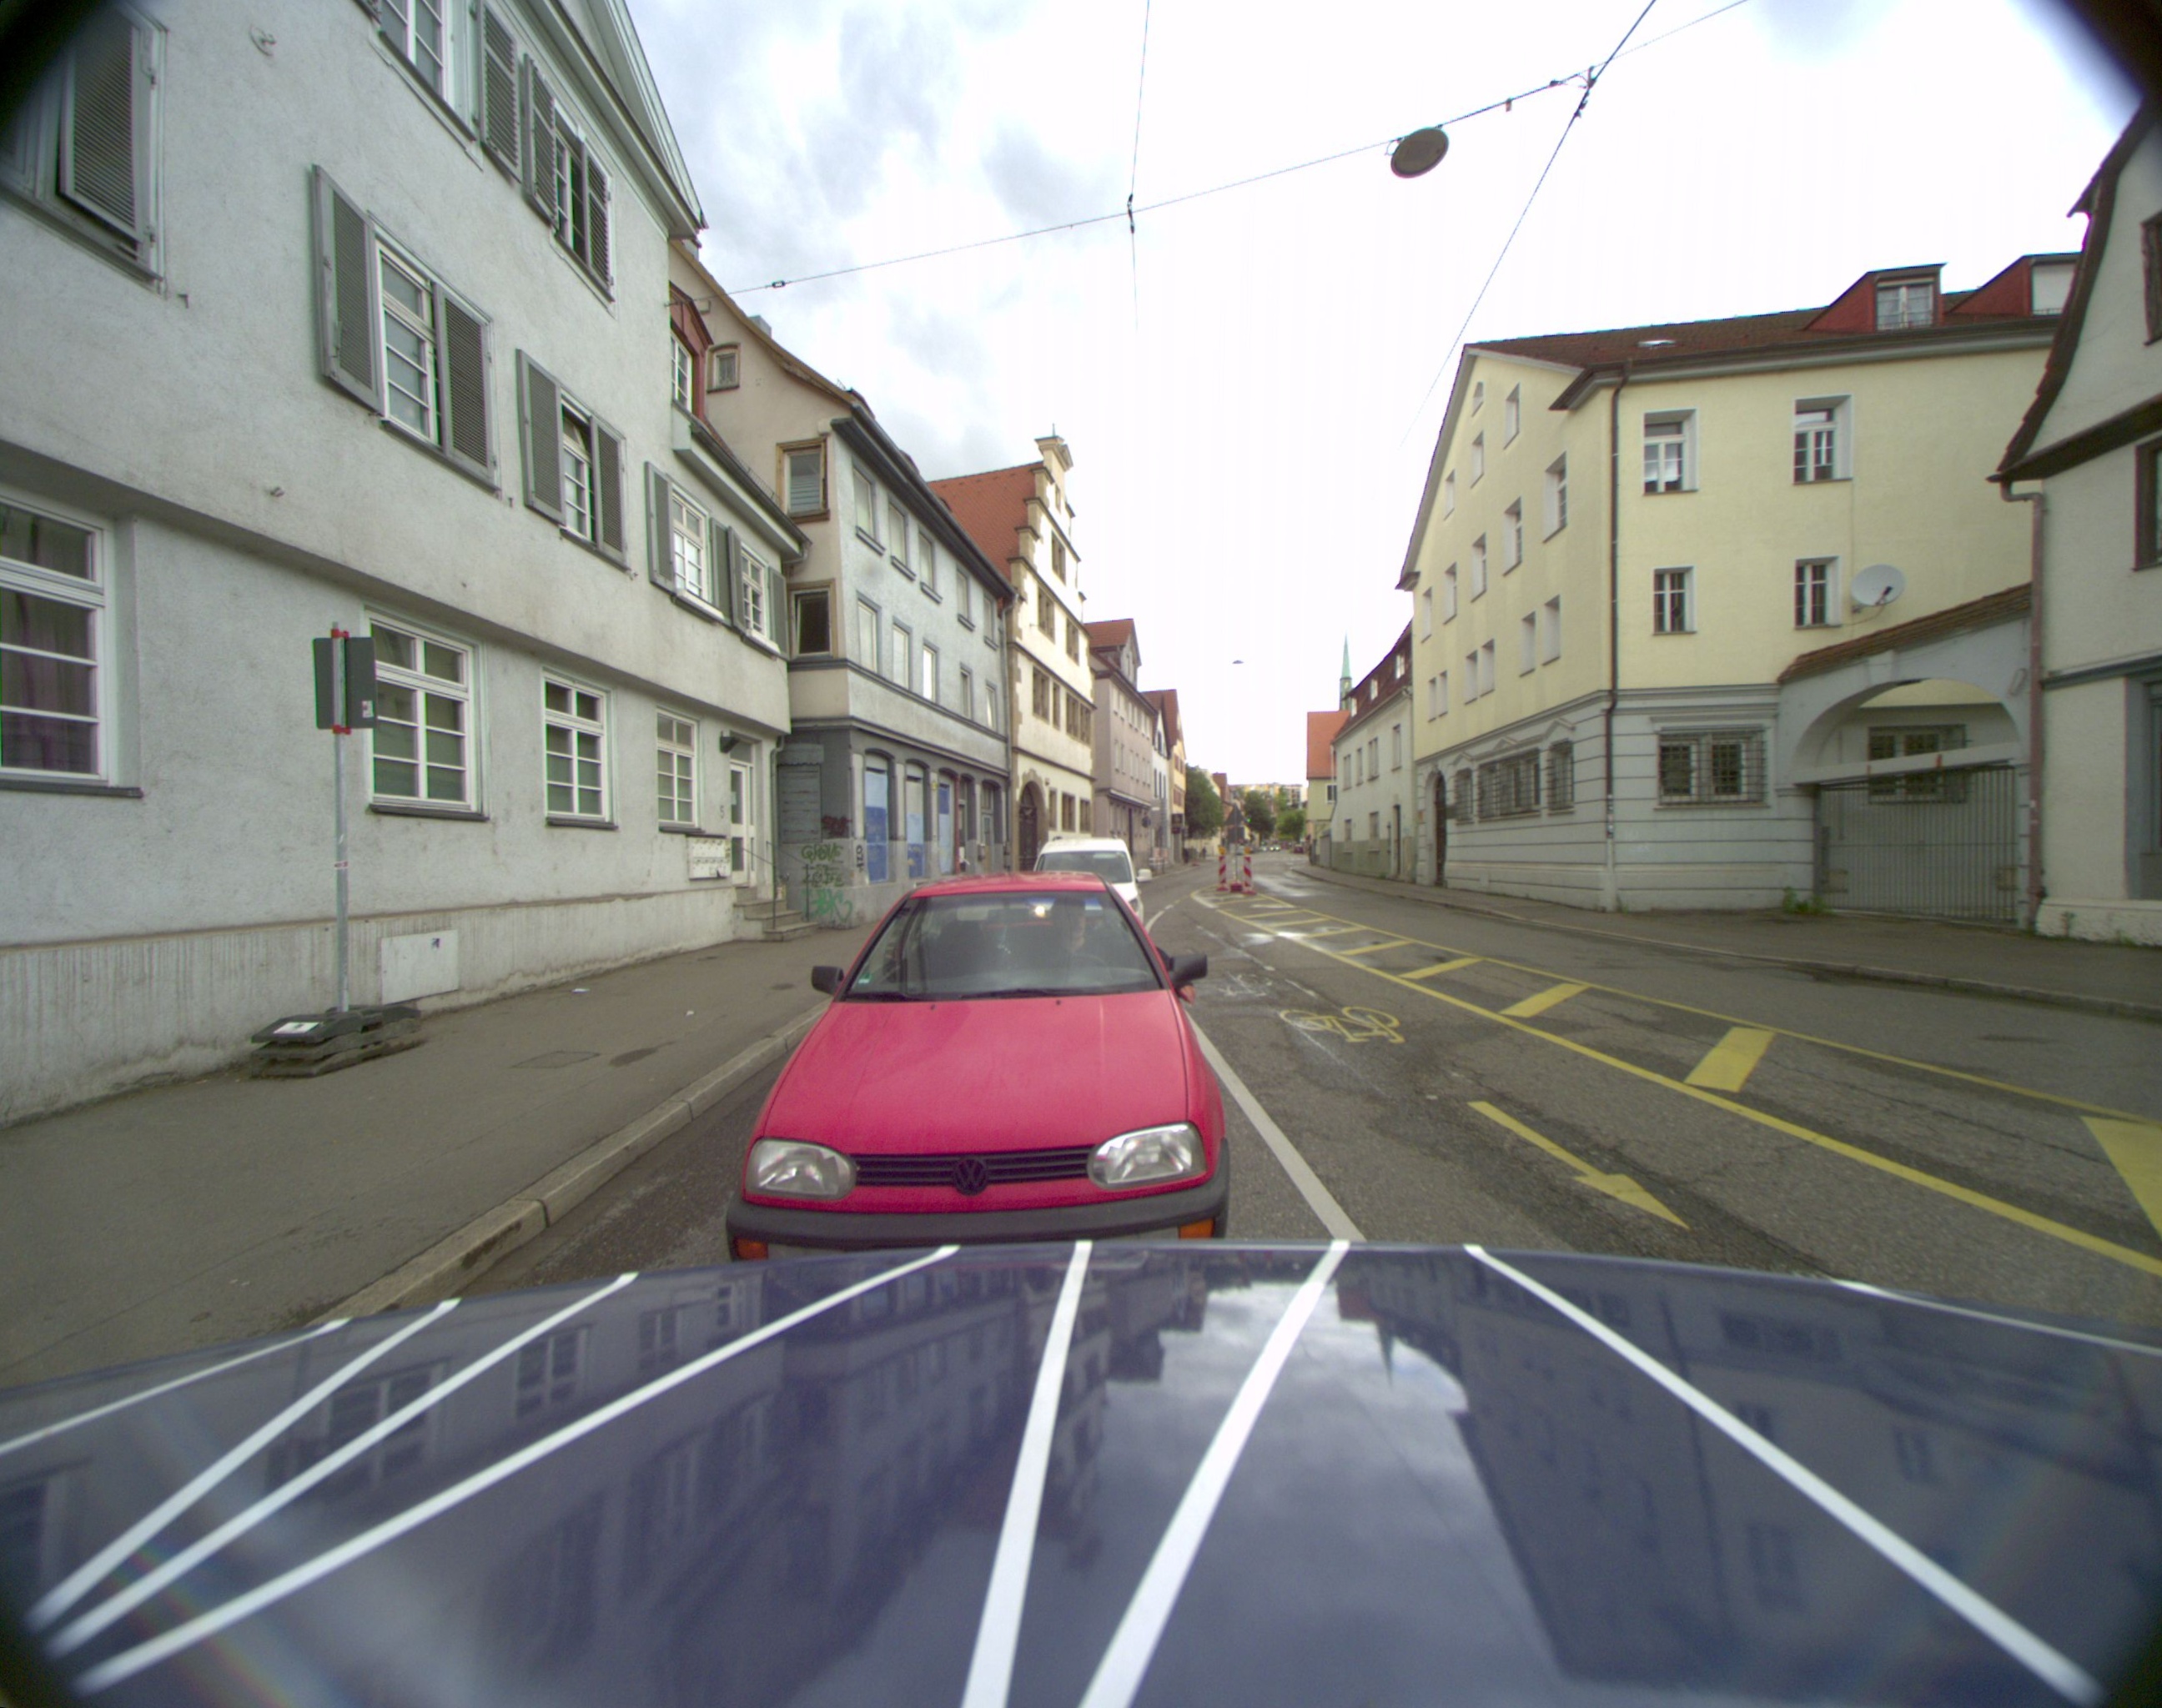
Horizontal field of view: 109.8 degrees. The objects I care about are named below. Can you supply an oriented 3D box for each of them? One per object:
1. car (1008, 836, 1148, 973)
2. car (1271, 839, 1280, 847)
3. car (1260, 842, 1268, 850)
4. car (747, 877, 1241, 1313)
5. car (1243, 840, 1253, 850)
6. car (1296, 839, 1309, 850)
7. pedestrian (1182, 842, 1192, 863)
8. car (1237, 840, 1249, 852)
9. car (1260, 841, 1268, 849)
[{"bbox_3d":[-0.011,0.674,12.167,1.804,1.781,4.349,-1,0,1],"label":"car"},{"bbox_3d":[50.200,-2.774,196.306,1.996,2.002,4.004,-1,0,13],"label":"car"},{"bbox_3d":[48.439,-2.114,201.144,1.996,2.002,4.004,-1,0,13],"label":"car"},{"bbox_3d":[-0.305,0.986,4.906,1.804,1.458,4.000,-4,0,1],"label":"car"},{"bbox_3d":[33.934,-1.760,154.290,1.996,2.002,4.004,-1,0,13],"label":"car"},{"bbox_3d":[42.721,-1.781,146.585,2.057,2.002,4.004,-1,0,13],"label":"car"},{"bbox_3d":[9.728,-0.109,69.911,0.877,1.888,0.898,-1,0,11],"label":"pedestrian"},{"bbox_3d":[28.448,-1.348,133.505,1.996,2.002,4.004,-1,0,13],"label":"car"},{"bbox_3d":[44.950,-2.163,186.816,1.996,2.002,4.004,-1,0,13],"label":"car"}]
